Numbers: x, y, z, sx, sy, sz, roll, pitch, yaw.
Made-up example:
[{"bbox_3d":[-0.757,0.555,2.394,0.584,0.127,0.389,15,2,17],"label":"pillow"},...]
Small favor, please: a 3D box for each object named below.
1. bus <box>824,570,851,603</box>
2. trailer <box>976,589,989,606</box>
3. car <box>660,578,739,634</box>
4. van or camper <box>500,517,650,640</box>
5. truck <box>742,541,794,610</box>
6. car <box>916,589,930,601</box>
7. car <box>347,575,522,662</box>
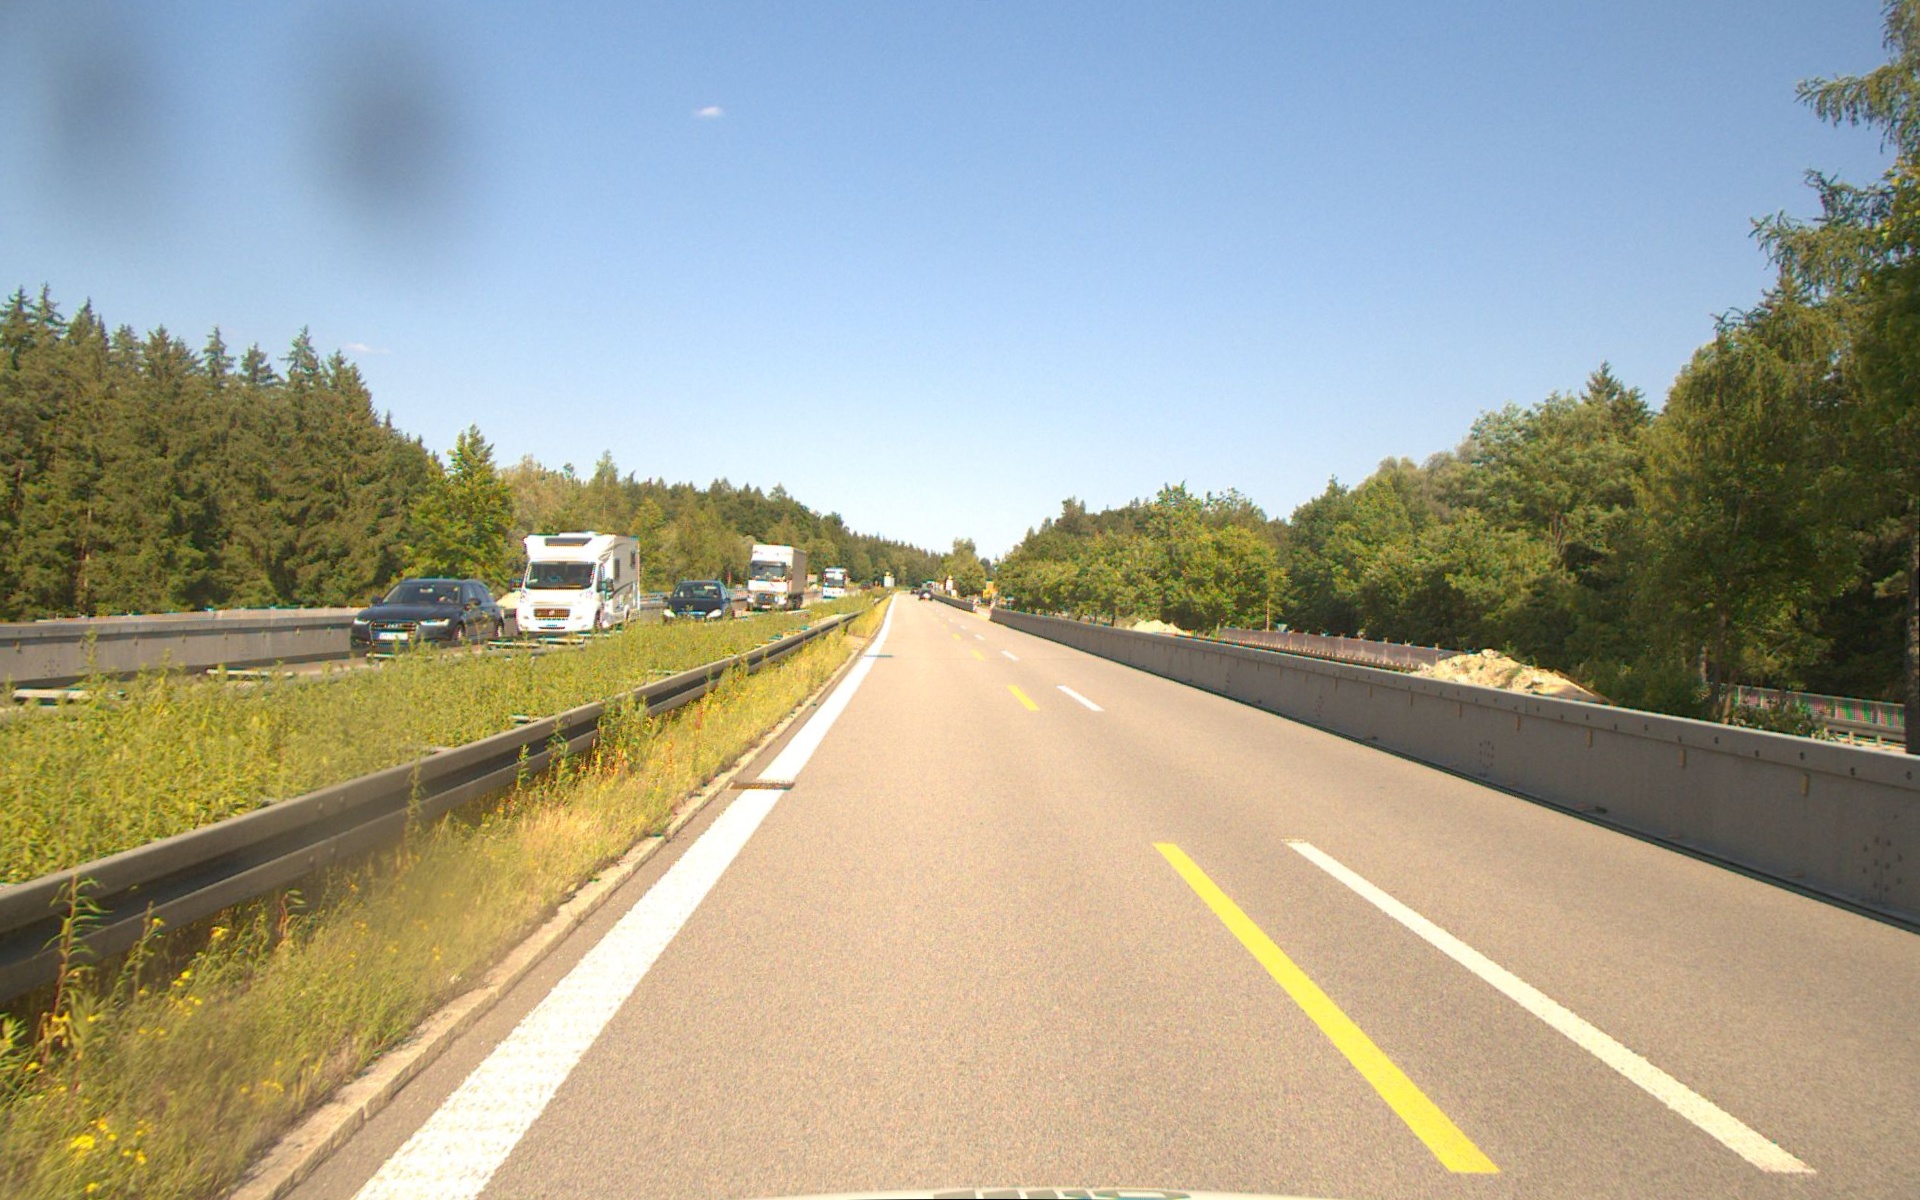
[{"bbox_3d":[-14.866,-1.693,201.811,2.824,3.734,12.910,3,0,-3],"label":"bus"},{"bbox_3d":[2.575,-0.293,189.488,1.103,1.906,3.997,2,0,-4],"label":"trailer"},{"bbox_3d":[-7.506,0.167,48.004,1.706,1.557,3.999,0,0,-1],"label":"car"},{"bbox_3d":[-10.307,-0.547,44.995,2.357,3.002,7.521,1,0,-1],"label":"van or camper"},{"bbox_3d":[-11.921,-1.499,103.117,2.714,4.159,5.473,0,0,-2],"label":"truck"},{"bbox_3d":[-4.913,-0.634,220.979,1.709,1.492,4.292,2,0,-2],"label":"car"},{"bbox_3d":[-9.794,0.301,31.242,1.706,1.457,5.234,-2,0,-1],"label":"car"}]
